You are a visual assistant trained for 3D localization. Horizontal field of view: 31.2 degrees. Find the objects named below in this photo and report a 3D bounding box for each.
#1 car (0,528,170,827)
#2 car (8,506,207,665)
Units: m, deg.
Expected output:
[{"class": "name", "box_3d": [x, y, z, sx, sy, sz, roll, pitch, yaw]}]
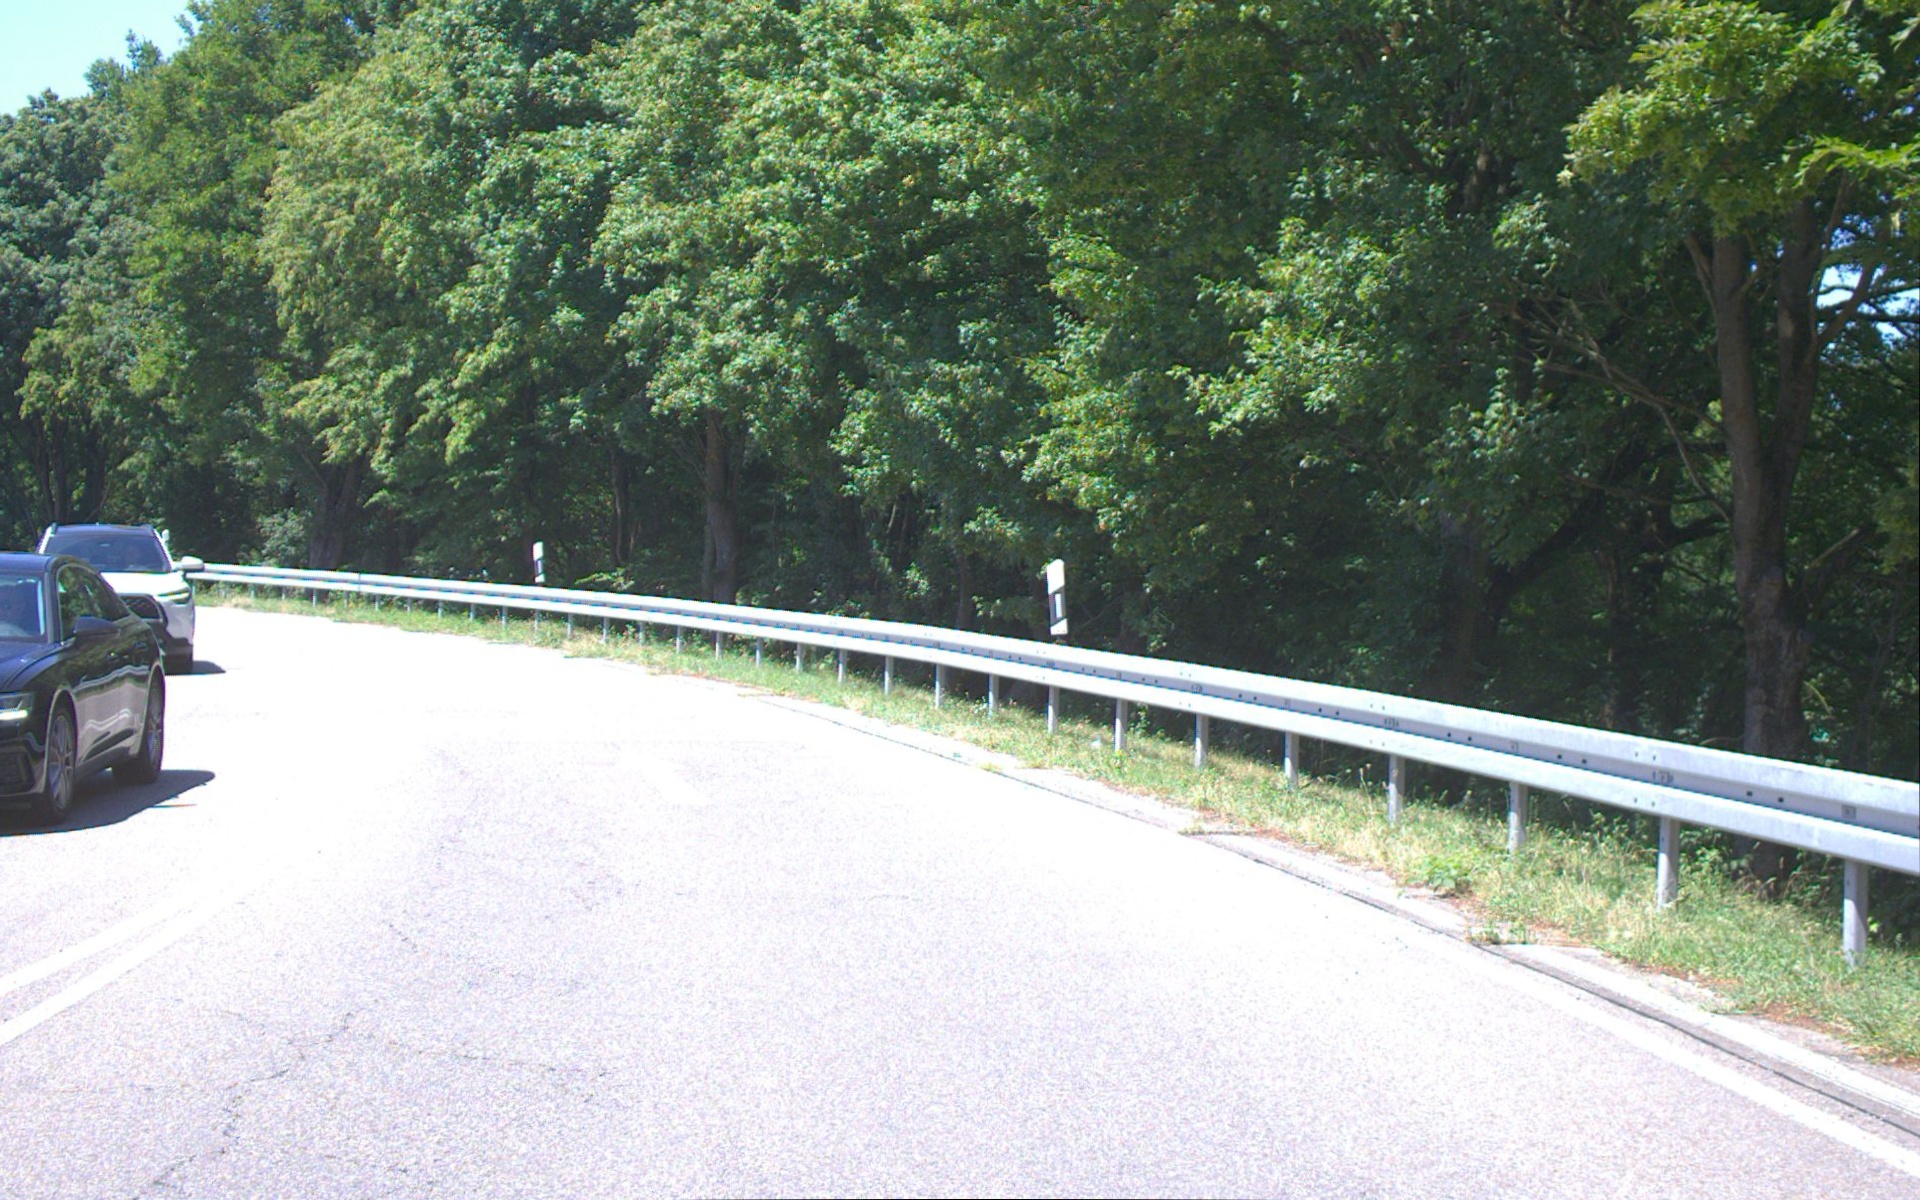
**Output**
[{"class": "car", "box_3d": [-5.772, 0.375, 19.589, 1.802, 1.501, 4.659, -1, 1, -5]}, {"class": "car", "box_3d": [-9.411, -0.162, 37.739, 1.822, 1.585, 4.219, -2, 1, -17]}]
